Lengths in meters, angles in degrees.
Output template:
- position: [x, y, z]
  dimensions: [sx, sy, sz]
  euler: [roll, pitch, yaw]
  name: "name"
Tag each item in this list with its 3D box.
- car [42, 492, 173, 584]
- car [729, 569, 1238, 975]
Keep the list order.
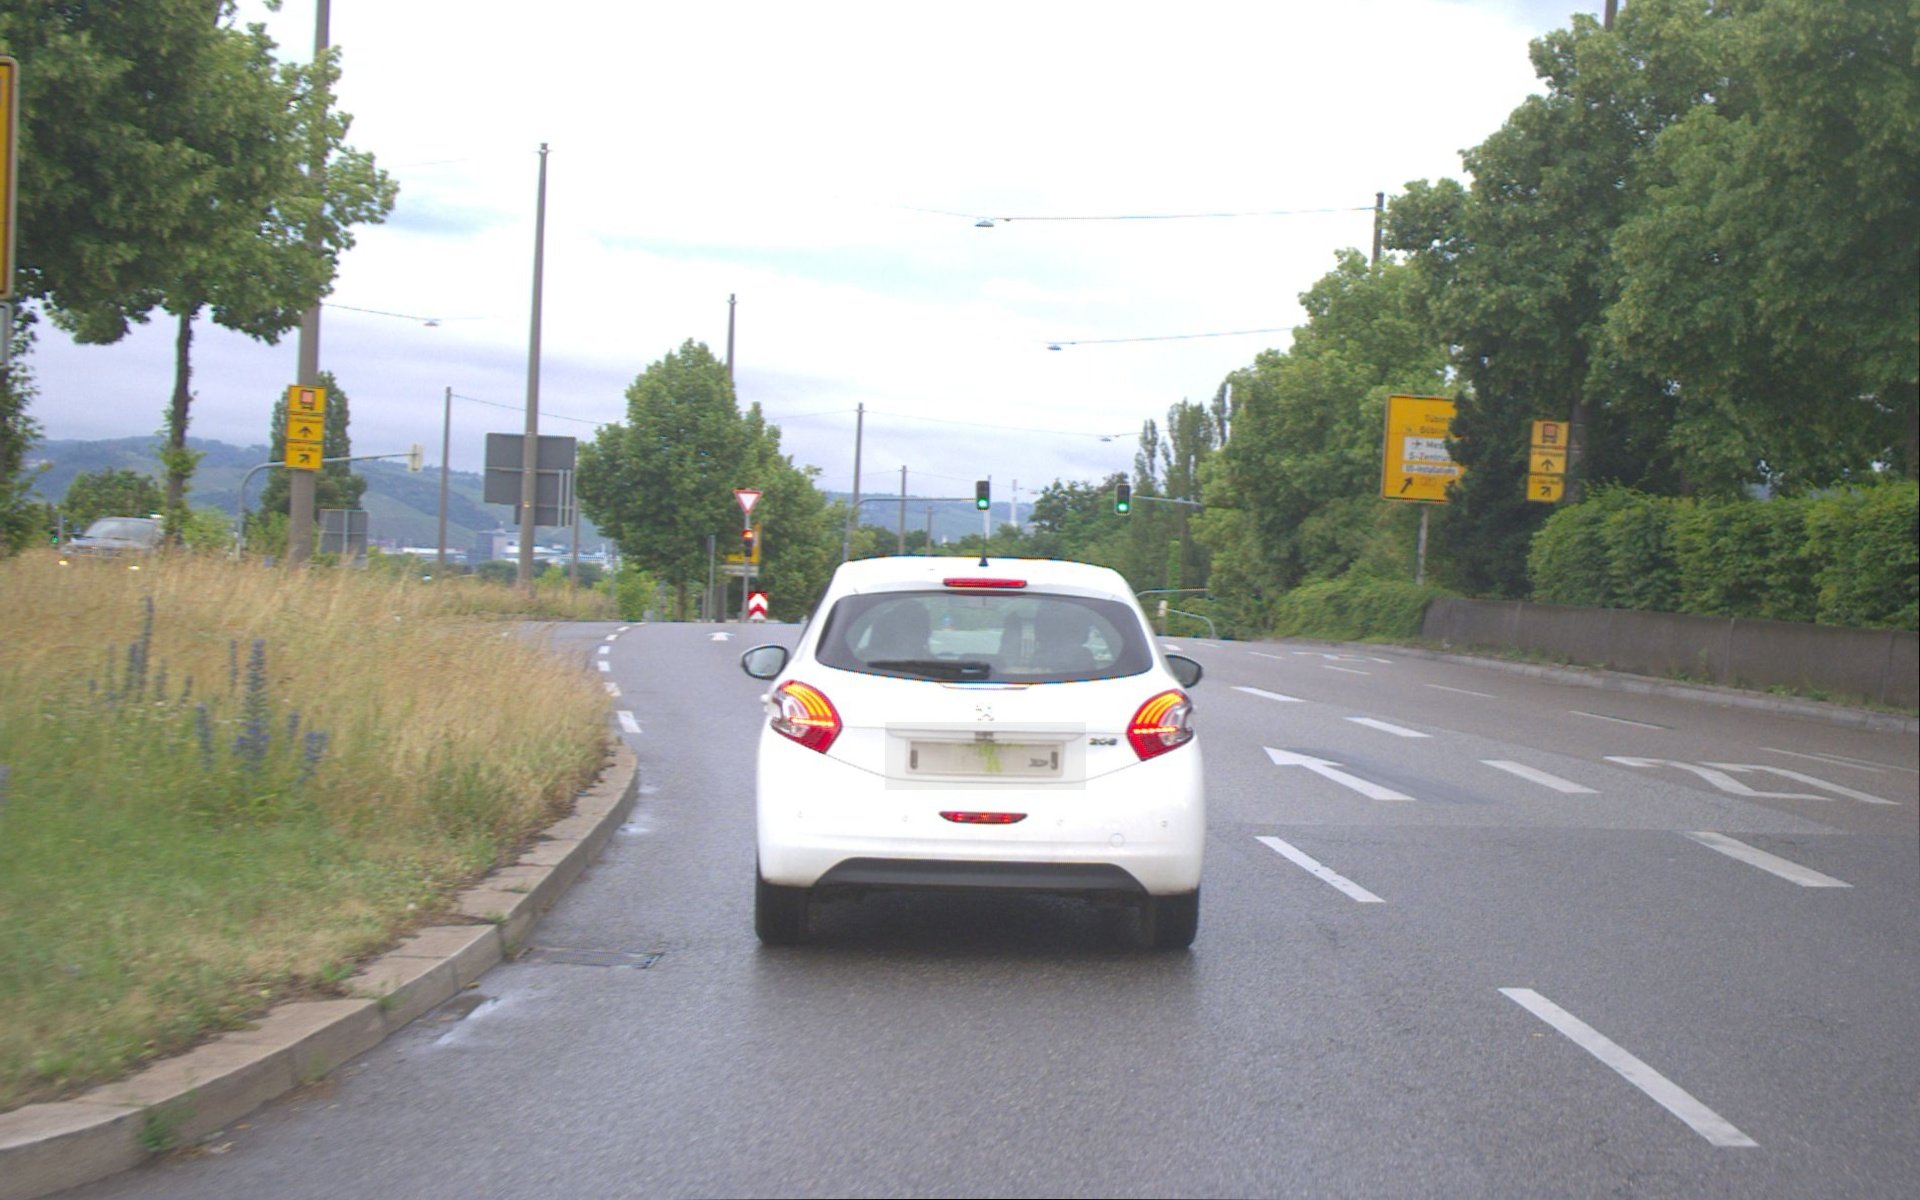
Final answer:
- position: [-17.299, -1.262, 69.914]
  dimensions: [1.767, 1.744, 4.001]
  euler: [2, 1, -3]
  name: "car"
- position: [-0.033, 0.600, 14.076]
  dimensions: [1.708, 1.435, 3.691]
  euler: [1, 0, -5]
  name: "car"
